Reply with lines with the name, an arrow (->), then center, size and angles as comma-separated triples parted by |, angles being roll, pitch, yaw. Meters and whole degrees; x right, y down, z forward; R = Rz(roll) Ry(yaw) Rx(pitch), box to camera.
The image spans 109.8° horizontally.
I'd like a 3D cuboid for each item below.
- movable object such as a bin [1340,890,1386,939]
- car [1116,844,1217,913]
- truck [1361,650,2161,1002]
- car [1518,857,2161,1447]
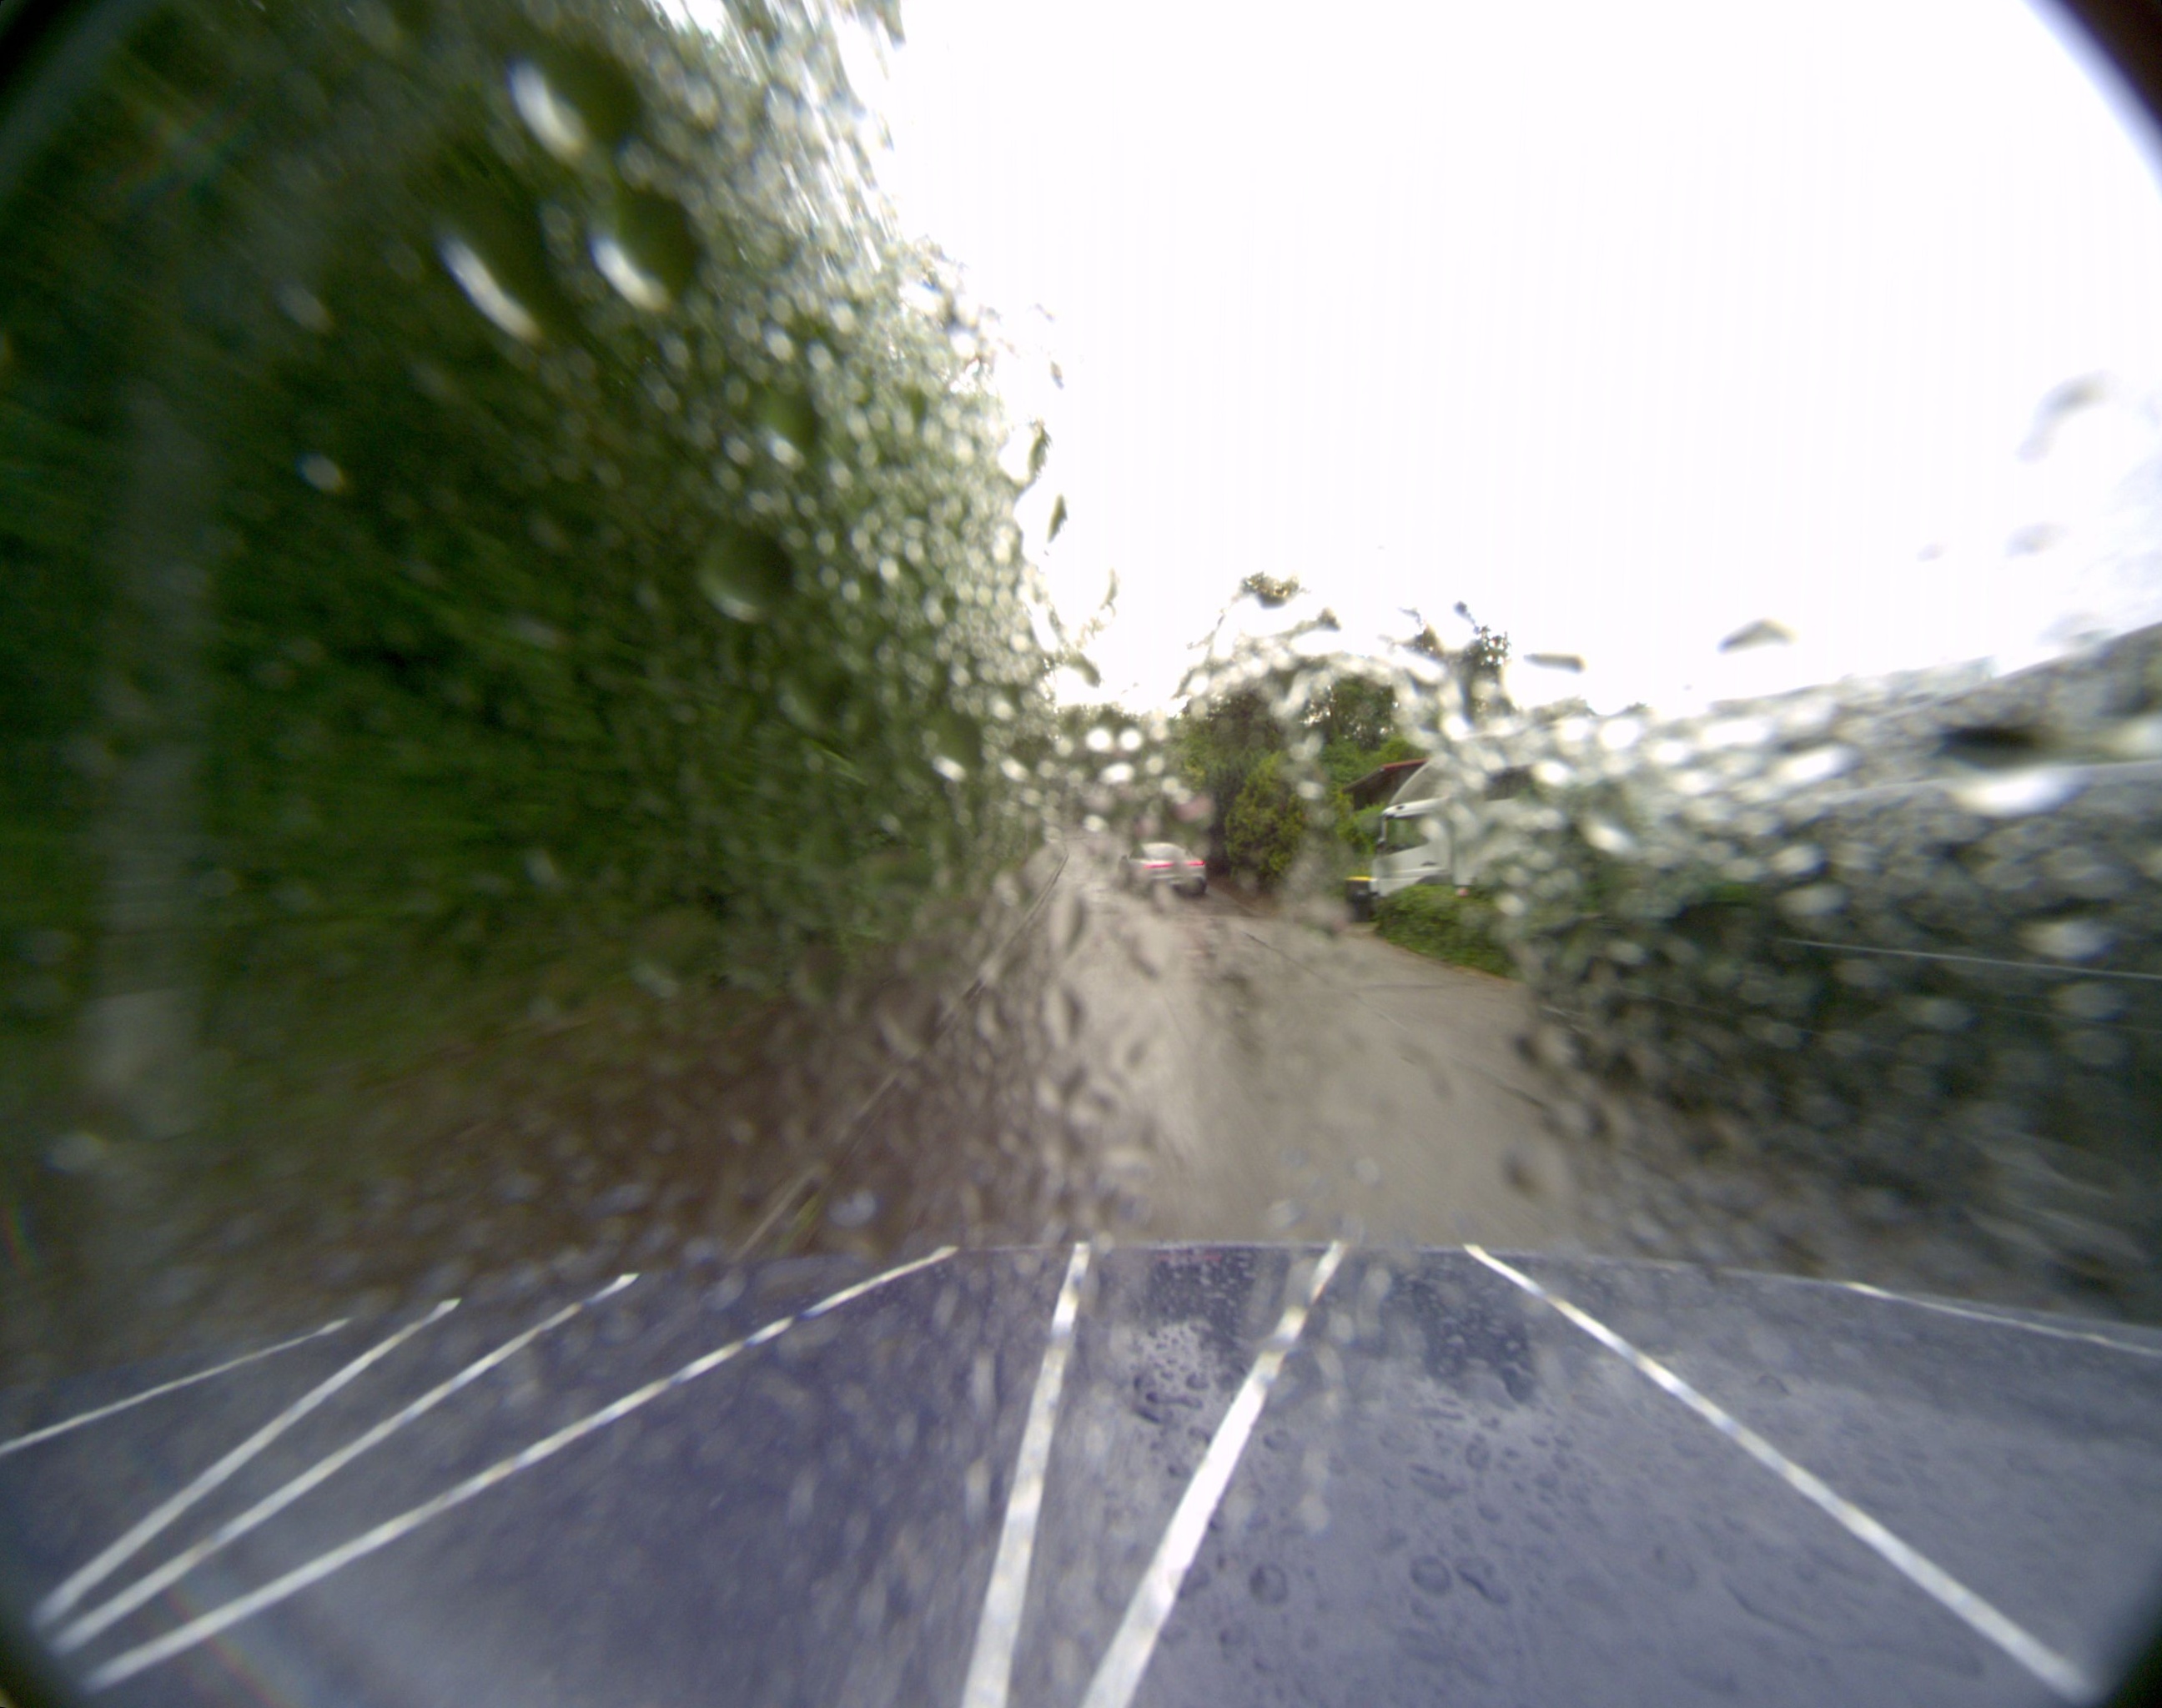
movable object such as a bin -> 6.589, 1.401, 17.767 | 0.707, 1.064, 0.752 | -2, -1, -4
car -> 2.403, 0.630, 22.596 | 1.961, 1.609, 4.675 | -2, 3, -6
truck -> 9.514, -0.268, 11.948 | 2.773, 3.694, 9.226 | -3, 1, -43
car -> 4.040, 0.905, 3.561 | 1.690, 1.717, 4.069 | 1, -1, 1
